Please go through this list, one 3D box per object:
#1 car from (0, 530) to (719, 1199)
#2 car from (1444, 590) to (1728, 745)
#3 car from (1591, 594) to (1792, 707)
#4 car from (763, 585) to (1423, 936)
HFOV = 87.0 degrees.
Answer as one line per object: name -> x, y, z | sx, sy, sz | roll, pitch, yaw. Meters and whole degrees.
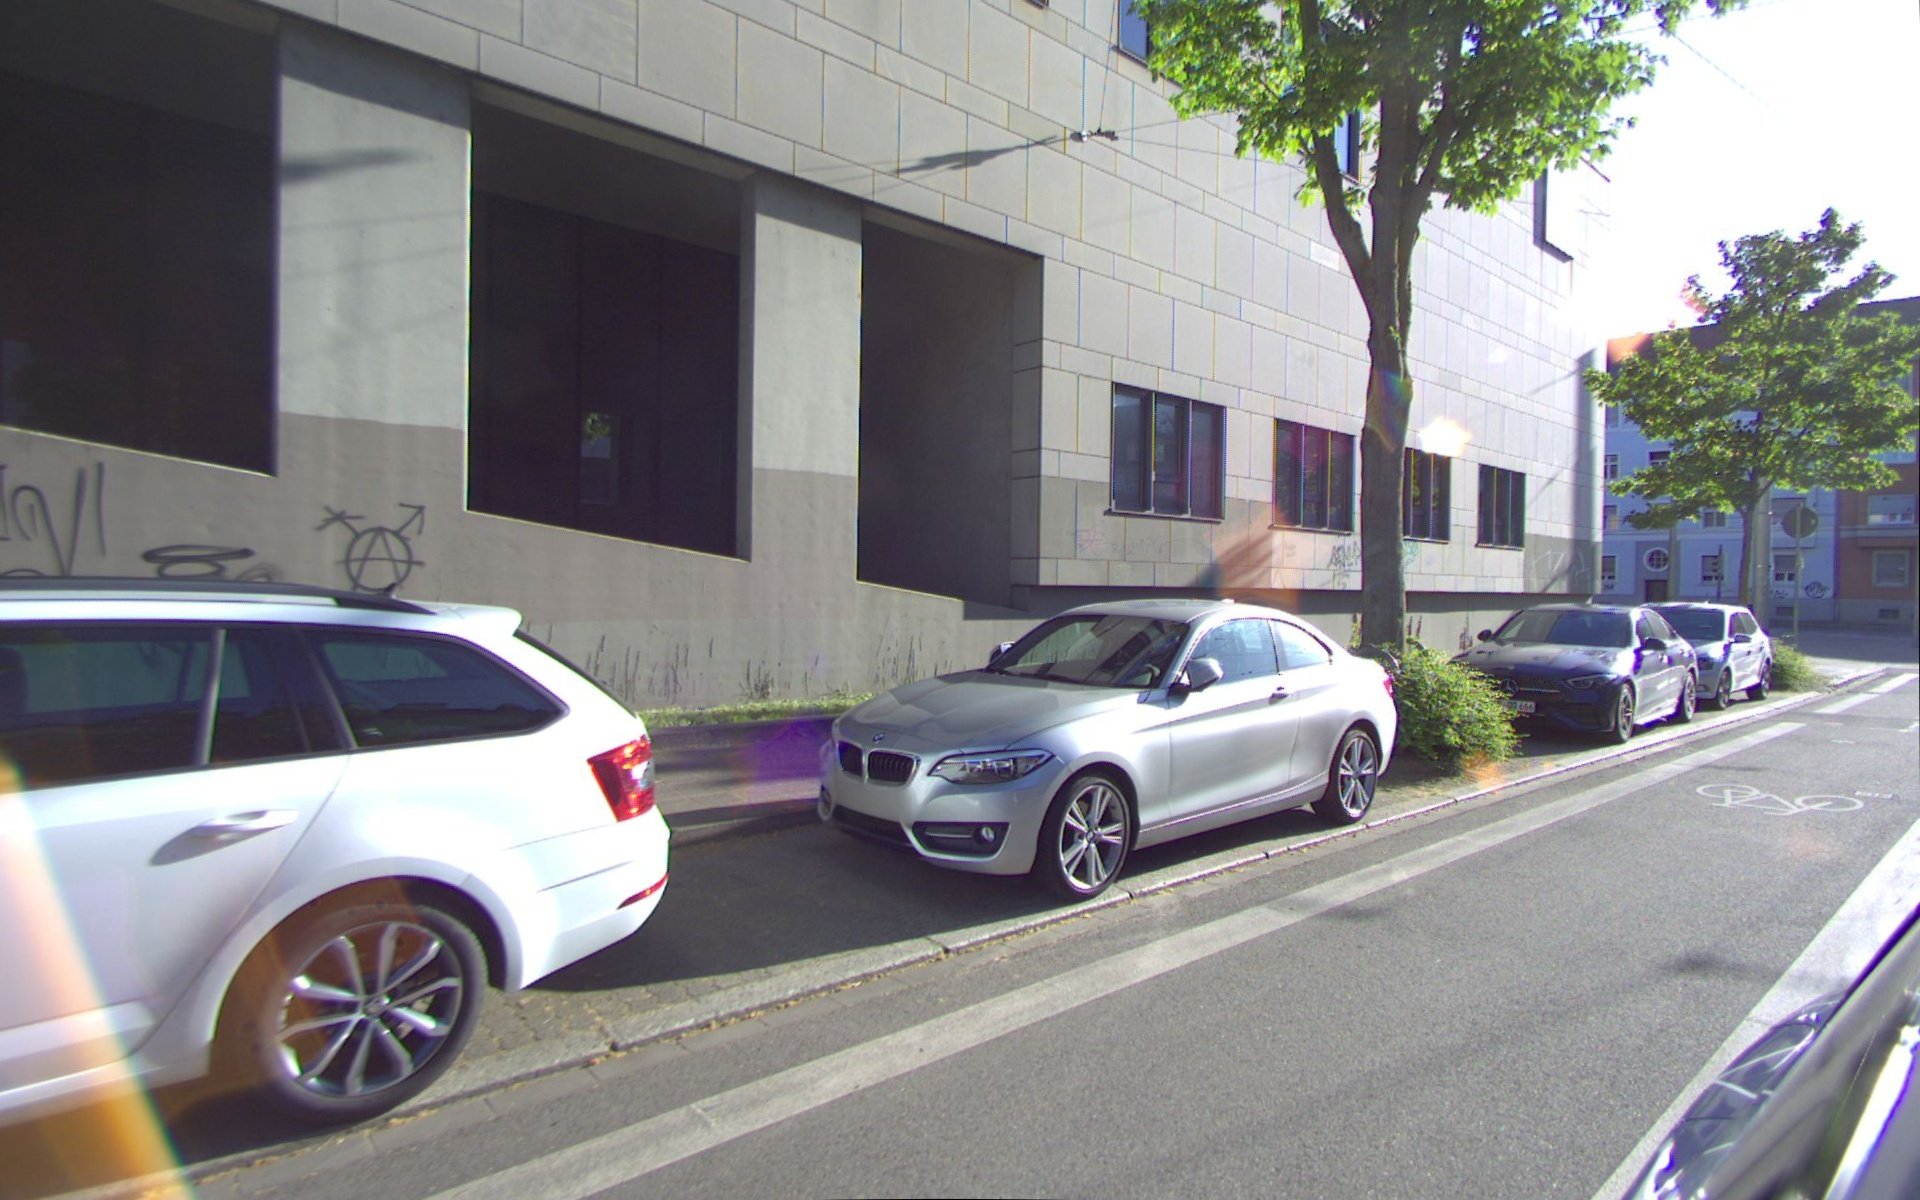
car -> -3.084, 0.594, 2.584 | 4.542, 1.509, 1.715 | 0, 0, -41
car -> 7.622, 0.643, 12.122 | 4.582, 1.425, 1.680 | -1, 3, -43
car -> 11.375, 0.673, 15.654 | 3.930, 1.498, 1.653 | -1, 0, -41
car -> 1.071, 0.655, 6.346 | 4.253, 1.425, 1.712 | -1, 3, -41
